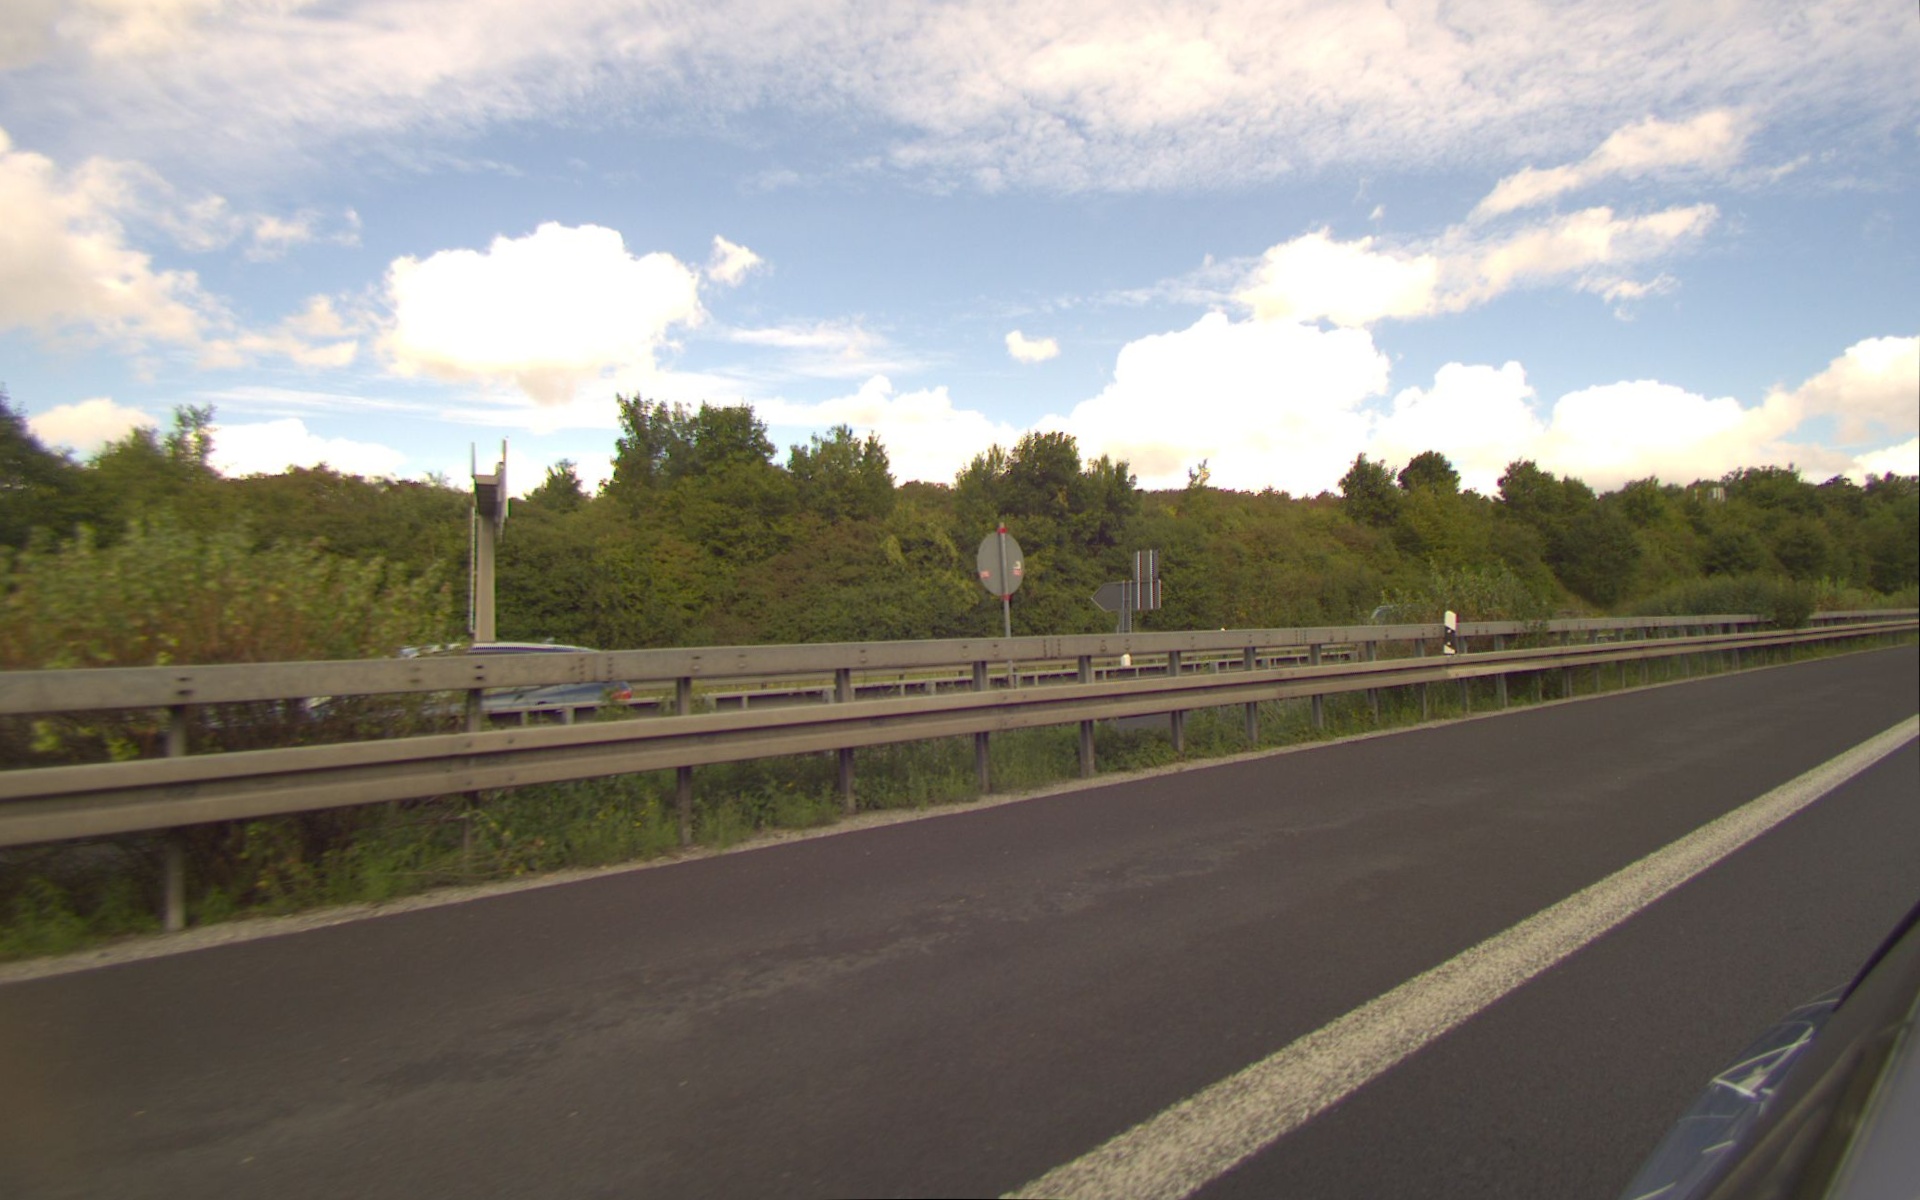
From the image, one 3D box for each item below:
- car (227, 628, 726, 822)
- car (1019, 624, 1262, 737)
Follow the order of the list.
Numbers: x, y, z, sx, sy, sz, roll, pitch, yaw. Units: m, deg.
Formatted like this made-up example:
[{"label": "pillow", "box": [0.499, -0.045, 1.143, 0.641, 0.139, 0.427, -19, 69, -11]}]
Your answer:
[{"label": "car", "box": [-5.037, 1.142, 10.934, 4.593, 1.538, 1.787, 0, 0, -39]}, {"label": "car", "box": [3.163, 1.254, 17.262, 4.267, 1.591, 1.787, 0, 0, -40]}]
